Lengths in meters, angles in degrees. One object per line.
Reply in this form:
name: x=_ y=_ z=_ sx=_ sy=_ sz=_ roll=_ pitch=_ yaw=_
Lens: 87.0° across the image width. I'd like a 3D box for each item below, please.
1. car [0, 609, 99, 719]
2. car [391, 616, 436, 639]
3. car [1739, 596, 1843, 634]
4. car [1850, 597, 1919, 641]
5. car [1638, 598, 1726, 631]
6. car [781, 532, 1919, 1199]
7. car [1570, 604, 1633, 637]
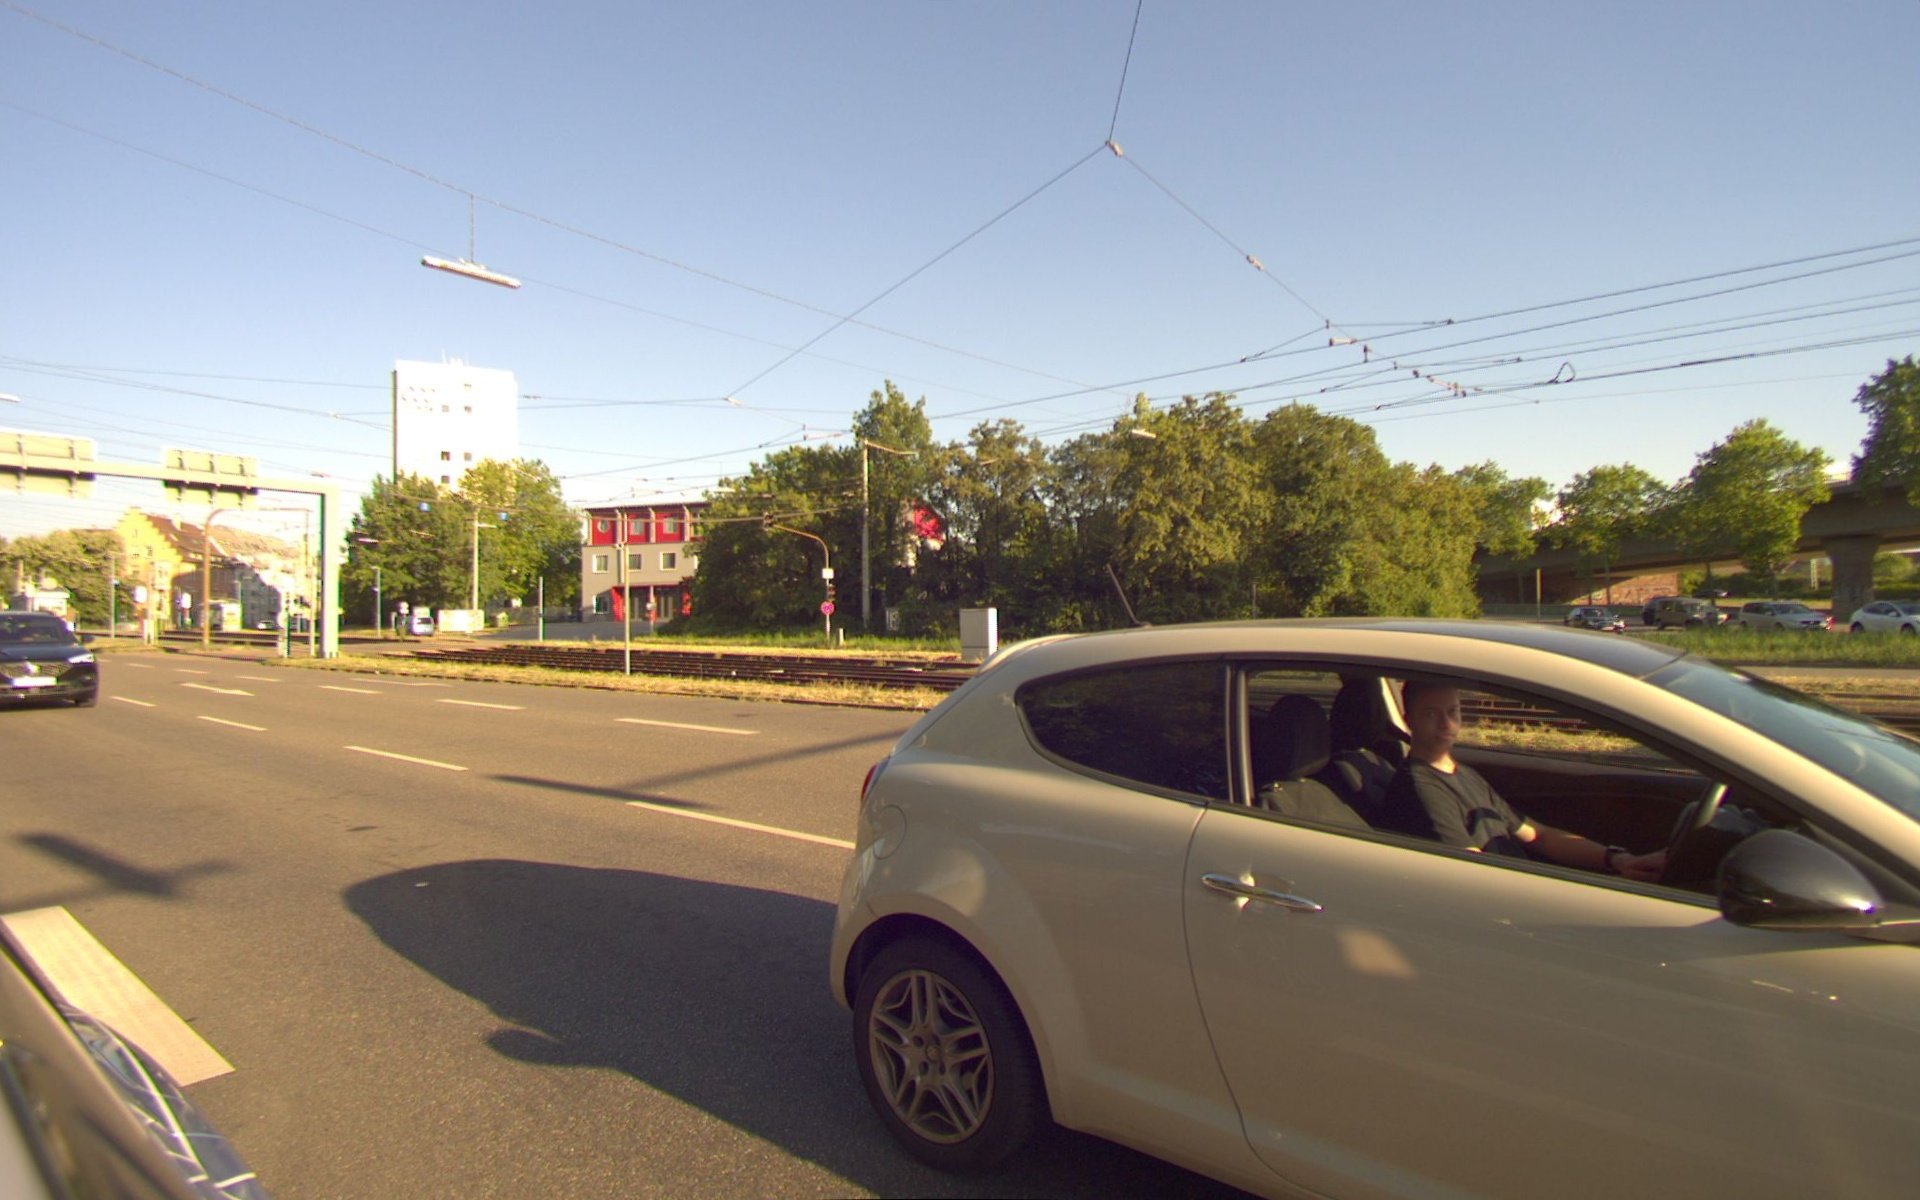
car: x=-16.436 y=1.007 z=17.415 sx=4.621 sy=1.692 sz=1.795 roll=0 pitch=-1 yaw=41
car: x=-44.250 y=2.262 z=81.864 sx=4.258 sy=1.801 sz=1.912 roll=-2 pitch=-3 yaw=42
car: x=38.273 y=0.704 z=46.759 sx=1.674 sy=1.643 sz=4.276 roll=-1 pitch=-1 yaw=8
car: x=36.949 y=0.714 z=39.077 sx=1.676 sy=1.586 sz=4.750 roll=-2 pitch=0 yaw=11
car: x=39.451 y=0.786 z=55.432 sx=1.670 sy=1.691 sz=4.412 roll=-1 pitch=-1 yaw=1
car: x=1.570 y=0.690 z=2.313 sx=3.995 sy=1.517 sz=1.719 roll=-2 pitch=-2 yaw=39
car: x=34.584 y=1.083 z=54.683 sx=1.740 sy=1.691 sz=4.727 roll=-1 pitch=-1 yaw=18
